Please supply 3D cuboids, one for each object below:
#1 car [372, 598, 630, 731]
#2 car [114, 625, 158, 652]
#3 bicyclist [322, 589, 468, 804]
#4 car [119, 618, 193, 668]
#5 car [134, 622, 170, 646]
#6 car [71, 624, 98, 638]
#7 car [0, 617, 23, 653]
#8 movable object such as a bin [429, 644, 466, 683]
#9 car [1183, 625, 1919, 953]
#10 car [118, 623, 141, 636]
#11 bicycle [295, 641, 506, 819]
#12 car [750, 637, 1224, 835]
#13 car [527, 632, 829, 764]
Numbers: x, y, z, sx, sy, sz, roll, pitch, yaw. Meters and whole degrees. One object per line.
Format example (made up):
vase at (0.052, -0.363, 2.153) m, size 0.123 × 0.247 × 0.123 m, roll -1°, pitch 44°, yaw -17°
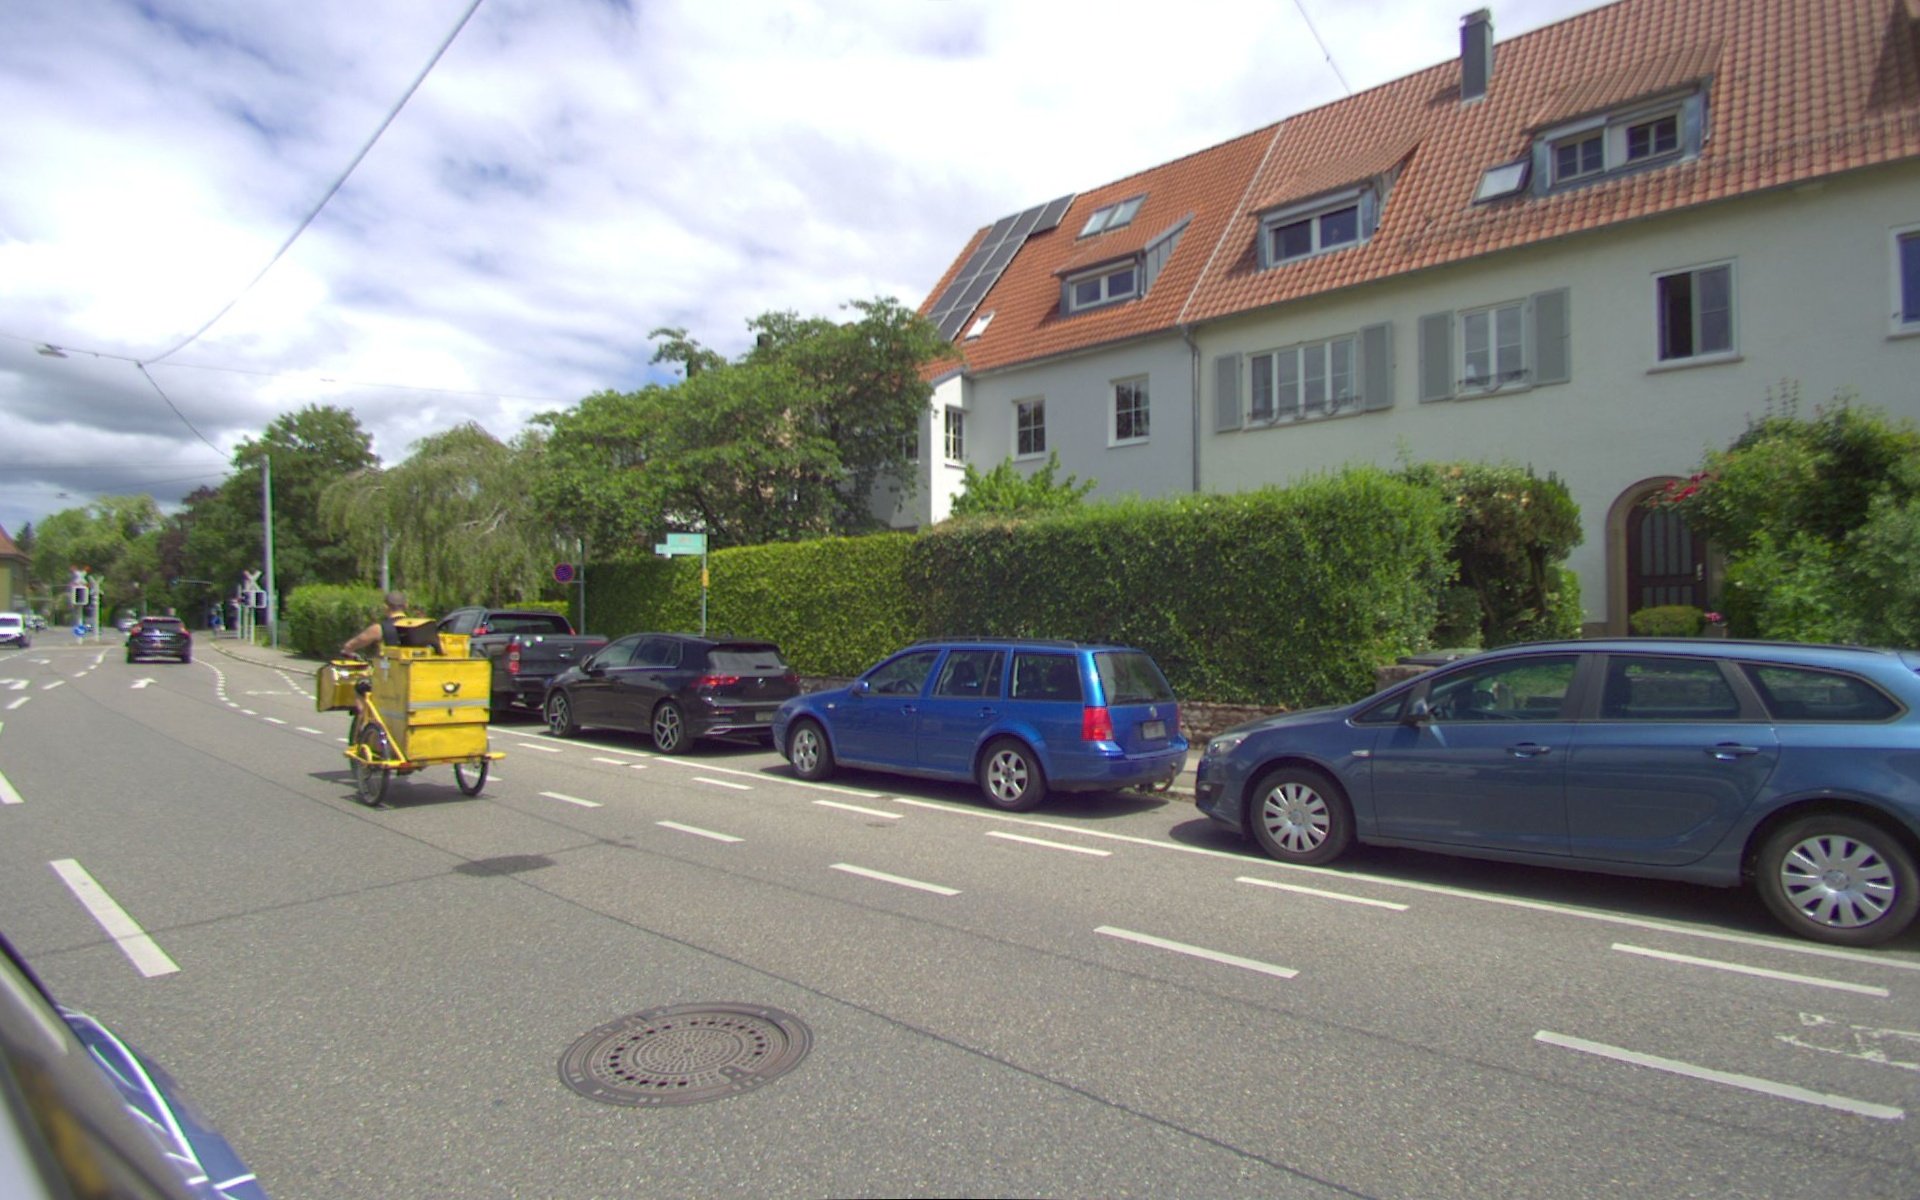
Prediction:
car at (-7.911, 1.019, 17.143) m, size 5.403 × 1.909 × 1.972 m, roll -1°, pitch -4°, yaw 43°
car at (-47.294, 2.202, 58.053) m, size 1.852 × 1.487 × 4.449 m, roll 2°, pitch -2°, yaw -40°
bicyclist at (-4.951, 0.792, 8.851) m, size 1.209 × 1.727 × 0.783 m, roll -2°, pitch -2°, yaw 45°
car at (-29.650, 1.565, 37.287) m, size 1.892 × 1.661 × 4.300 m, roll 6°, pitch -5°, yaw -40°
car at (-55.216, 2.280, 69.136) m, size 1.824 × 1.587 × 4.166 m, roll 0°, pitch -1°, yaw -40°
car at (-97.514, 3.397, 112.752) m, size 1.968 × 1.438 × 4.008 m, roll -1°, pitch 0°, yaw -38°
car at (-49.520, 1.811, 51.914) m, size 1.904 × 1.795 × 4.007 m, roll -1°, pitch -1°, yaw -40°
movable object such as a bin at (-13.131, 1.612, 25.922) m, size 0.668 × 0.952 × 0.645 m, roll -1°, pitch -1°, yaw -45°
car at (3.857, 0.912, 6.216) m, size 4.559 × 1.503 × 1.761 m, roll -1°, pitch -2°, yaw 38°
car at (-92.983, 3.294, 113.385) m, size 1.903 × 1.431 × 4.008 m, roll -1°, pitch -1°, yaw -38°
bicycle at (-4.981, 1.029, 8.892) m, size 2.662 × 1.311 × 0.854 m, roll -2°, pitch -2°, yaw 44°
car at (0.077, 1.091, 9.688) m, size 4.437 × 1.428 × 1.759 m, roll -1°, pitch -2°, yaw 41°
car at (-3.801, 1.142, 13.215) m, size 4.338 × 1.428 × 1.759 m, roll -1°, pitch -2°, yaw 42°
